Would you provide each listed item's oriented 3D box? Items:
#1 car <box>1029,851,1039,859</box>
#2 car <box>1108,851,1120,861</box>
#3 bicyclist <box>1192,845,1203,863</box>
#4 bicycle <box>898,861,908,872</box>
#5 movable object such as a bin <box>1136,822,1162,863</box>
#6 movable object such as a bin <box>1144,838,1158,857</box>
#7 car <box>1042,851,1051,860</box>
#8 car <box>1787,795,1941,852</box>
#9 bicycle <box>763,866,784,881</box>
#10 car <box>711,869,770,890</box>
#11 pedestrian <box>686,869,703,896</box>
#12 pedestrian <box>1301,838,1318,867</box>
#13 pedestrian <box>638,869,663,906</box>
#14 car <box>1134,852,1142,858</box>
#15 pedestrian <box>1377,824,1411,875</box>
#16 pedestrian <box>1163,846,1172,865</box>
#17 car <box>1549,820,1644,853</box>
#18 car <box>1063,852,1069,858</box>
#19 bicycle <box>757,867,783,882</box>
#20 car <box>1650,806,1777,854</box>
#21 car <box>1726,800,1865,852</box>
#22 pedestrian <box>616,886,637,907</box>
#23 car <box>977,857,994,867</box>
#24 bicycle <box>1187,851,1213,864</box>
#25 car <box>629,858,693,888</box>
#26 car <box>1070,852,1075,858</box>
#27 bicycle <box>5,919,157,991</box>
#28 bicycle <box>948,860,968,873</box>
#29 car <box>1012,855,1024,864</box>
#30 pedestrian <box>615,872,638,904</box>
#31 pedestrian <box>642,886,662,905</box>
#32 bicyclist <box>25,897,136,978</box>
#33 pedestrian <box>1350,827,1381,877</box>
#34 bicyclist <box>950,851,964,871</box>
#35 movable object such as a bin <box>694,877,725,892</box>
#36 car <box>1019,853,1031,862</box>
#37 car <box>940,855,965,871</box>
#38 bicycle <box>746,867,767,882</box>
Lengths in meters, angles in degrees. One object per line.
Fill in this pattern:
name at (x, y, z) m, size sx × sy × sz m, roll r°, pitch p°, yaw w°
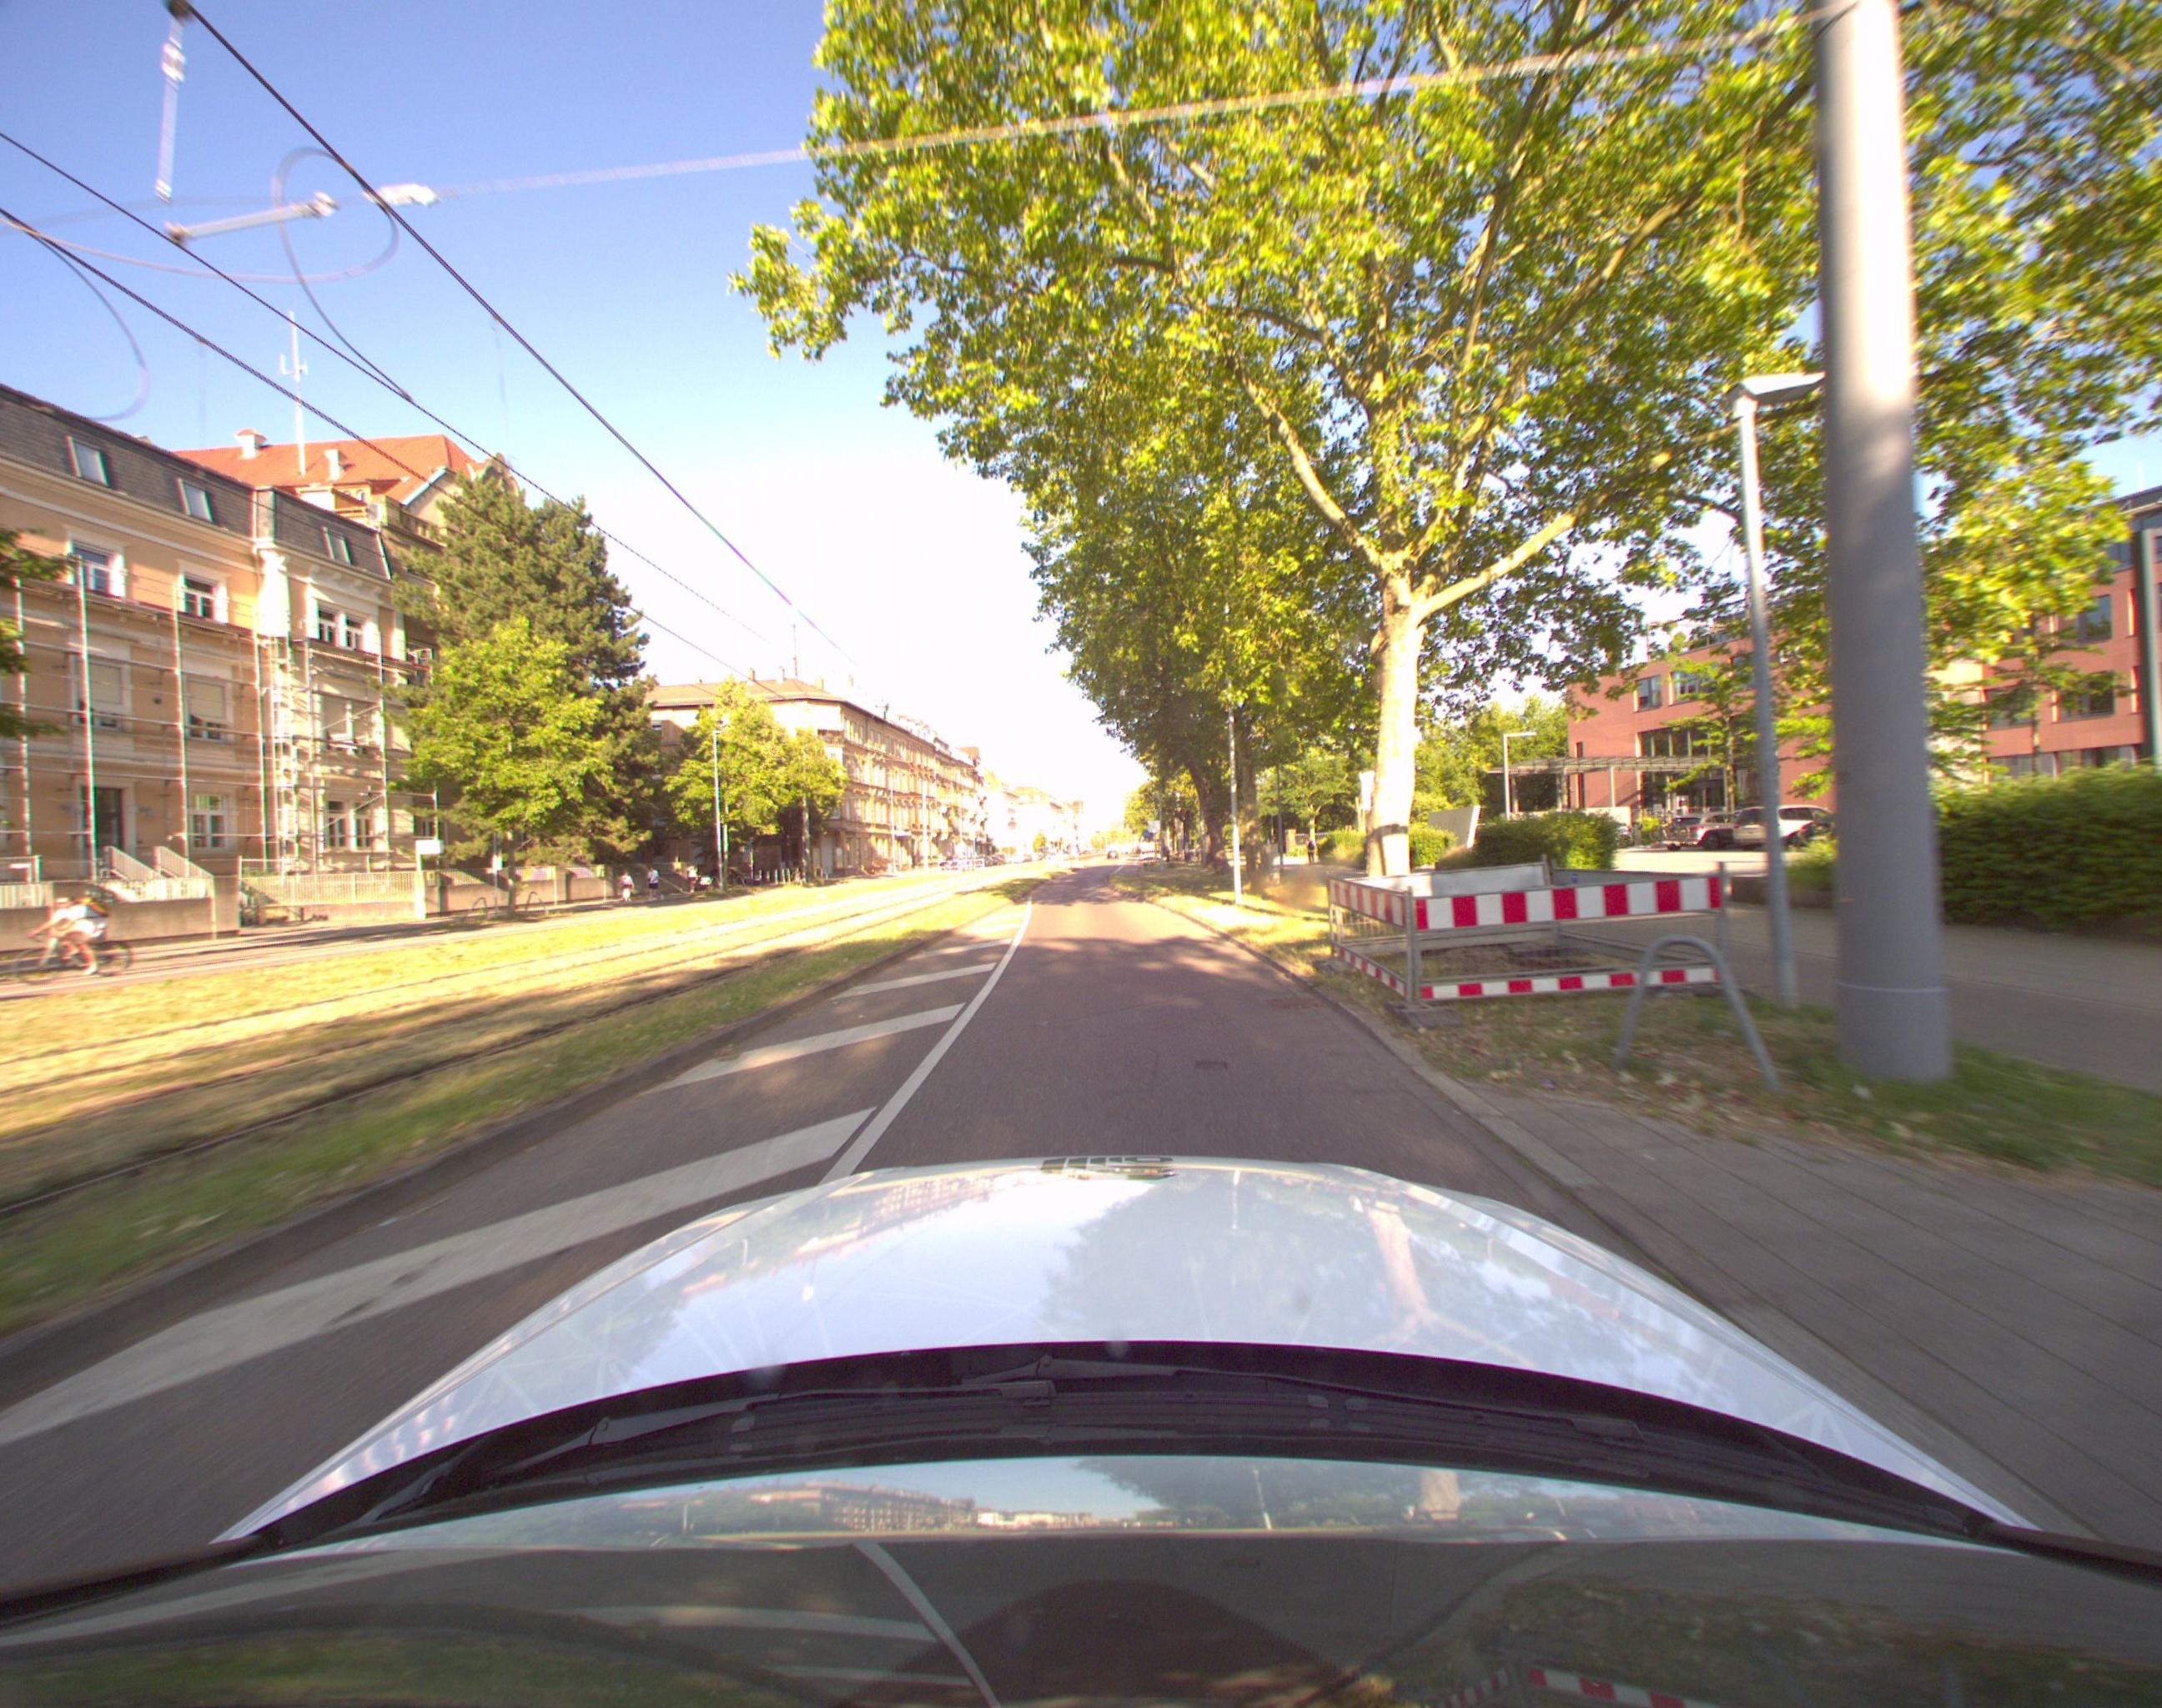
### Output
car at (-9.787, 0.286, 169.965) m, size 1.520 × 1.560 × 3.227 m, roll 0°, pitch 1°, yaw 4°
car at (5.656, 0.263, 139.387) m, size 1.984 × 1.684 × 4.005 m, roll 0°, pitch 0°, yaw 4°
bicyclist at (10.390, -0.003, 72.711) m, size 0.899 × 1.496 × 0.768 m, roll -3°, pitch 0°, yaw 5°
bicycle at (-19.827, 1.389, 90.743) m, size 0.696 × 1.180 × 1.753 m, roll 0°, pitch 0°, yaw 5°
movable object such as a bin at (9.290, -1.508, 111.687) m, size 3.073 × 5.088 × 8.902 m, roll -5°, pitch 0°, yaw 4°
movable object such as a bin at (11.501, -1.071, 133.705) m, size 1.959 × 3.013 × 4.802 m, roll -5°, pitch 0°, yaw 4°
car at (-8.165, 0.390, 194.184) m, size 1.651 × 2.139 × 3.529 m, roll 0°, pitch 1°, yaw 4°
car at (27.857, -1.070, 28.990) m, size 4.682 × 1.713 × 1.838 m, roll -4°, pitch 1°, yaw -17°
bicycle at (-26.064, 1.648, 69.020) m, size 0.781 × 1.179 × 2.244 m, roll 0°, pitch 0°, yaw 6°
car at (-24.783, 1.852, 59.244) m, size 4.138 × 1.471 × 2.013 m, roll -1°, pitch 0°, yaw 33°
pedestrian at (-23.025, 1.682, 48.505) m, size 0.615 × 1.593 × 0.798 m, roll 0°, pitch 0°, yaw 2°
pedestrian at (12.619, -0.069, 45.022) m, size 0.647 × 1.539 × 0.784 m, roll -3°, pitch 0°, yaw 4°
pedestrian at (-21.448, 1.666, 40.550) m, size 0.647 × 1.775 × 0.889 m, roll -3°, pitch 0°, yaw 3°
car at (17.508, 0.176, 250.075) m, size 1.988 × 1.860 × 3.997 m, roll 0°, pitch 0°, yaw -2°
pedestrian at (11.560, -0.154, 30.072) m, size 0.802 × 1.793 × 1.111 m, roll -4°, pitch 0°, yaw 5°
pedestrian at (7.885, 0.128, 74.394) m, size 0.657 × 1.647 × 0.863 m, roll -5°, pitch 0°, yaw 5°
car at (27.413, -0.930, 43.344) m, size 4.170 × 1.506 × 1.989 m, roll -4°, pitch 1°, yaw -16°
car at (-4.335, 0.319, 237.633) m, size 1.520 × 1.560 × 3.227 m, roll 0°, pitch 1°, yaw 4°
bicycle at (-25.704, 1.693, 67.368) m, size 0.779 × 1.179 × 2.250 m, roll 0°, pitch 0°, yaw 16°
car at (26.811, -1.032, 34.553) m, size 4.682 × 1.713 × 1.838 m, roll -4°, pitch 1°, yaw -17°
car at (27.703, -1.090, 31.593) m, size 4.682 × 1.713 × 1.838 m, roll -4°, pitch 1°, yaw -17°
pedestrian at (-22.302, 2.077, 39.951) m, size 0.648 × 0.932 × 0.585 m, roll -3°, pitch 0°, yaw 0°
car at (-13.854, 1.133, 118.115) m, size 1.768 × 1.406 × 3.914 m, roll 0°, pitch 1°, yaw 4°
bicycle at (10.608, 0.332, 72.699) m, size 2.249 × 1.040 × 0.768 m, roll -3°, pitch 1°, yaw 4°
car at (-30.072, 1.317, 58.265) m, size 4.555 × 2.013 × 2.013 m, roll 0°, pitch 0°, yaw 33°
car at (-2.637, 0.337, 254.511) m, size 1.520 × 1.560 × 3.227 m, roll 0°, pitch 1°, yaw 4°
bicycle at (-19.668, 1.962, 16.087) m, size 0.771 × 1.193 × 1.757 m, roll 0°, pitch 0°, yaw 4°
bicycle at (-10.787, 1.079, 71.583) m, size 0.757 × 1.040 × 1.970 m, roll -2°, pitch 2°, yaw 23°
car at (-11.511, 0.965, 149.228) m, size 1.733 × 1.560 × 3.772 m, roll 0°, pitch 1°, yaw 4°
pedestrian at (-23.301, 1.733, 41.757) m, size 0.647 × 1.539 × 0.784 m, roll -3°, pitch 0°, yaw 3°
pedestrian at (-21.899, 2.124, 41.568) m, size 0.646 × 0.932 × 0.587 m, roll -3°, pitch 0°, yaw 9°
bicyclist at (-19.672, 1.618, 16.040) m, size 0.771 × 1.481 × 1.135 m, roll 0°, pitch 0°, yaw 4°
pedestrian at (10.618, -0.073, 30.470) m, size 0.747 × 1.793 × 1.087 m, roll -4°, pitch 0°, yaw 5°
bicyclist at (-10.867, 0.596, 71.447) m, size 0.757 × 1.715 × 0.927 m, roll -2°, pitch 1°, yaw 23°
movable object such as a bin at (-22.621, 1.857, 49.598) m, size 1.240 × 0.865 × 1.237 m, roll 0°, pitch 0°, yaw 2°
car at (-10.541, 0.720, 153.935) m, size 1.733 × 1.560 × 3.772 m, roll 0°, pitch 1°, yaw 4°
car at (-15.647, 1.032, 99.079) m, size 2.006 × 1.753 × 4.563 m, roll 0°, pitch 1°, yaw 4°
bicycle at (-26.922, 1.661, 67.592) m, size 0.782 × 1.179 × 2.242 m, roll 0°, pitch 0°, yaw 3°
